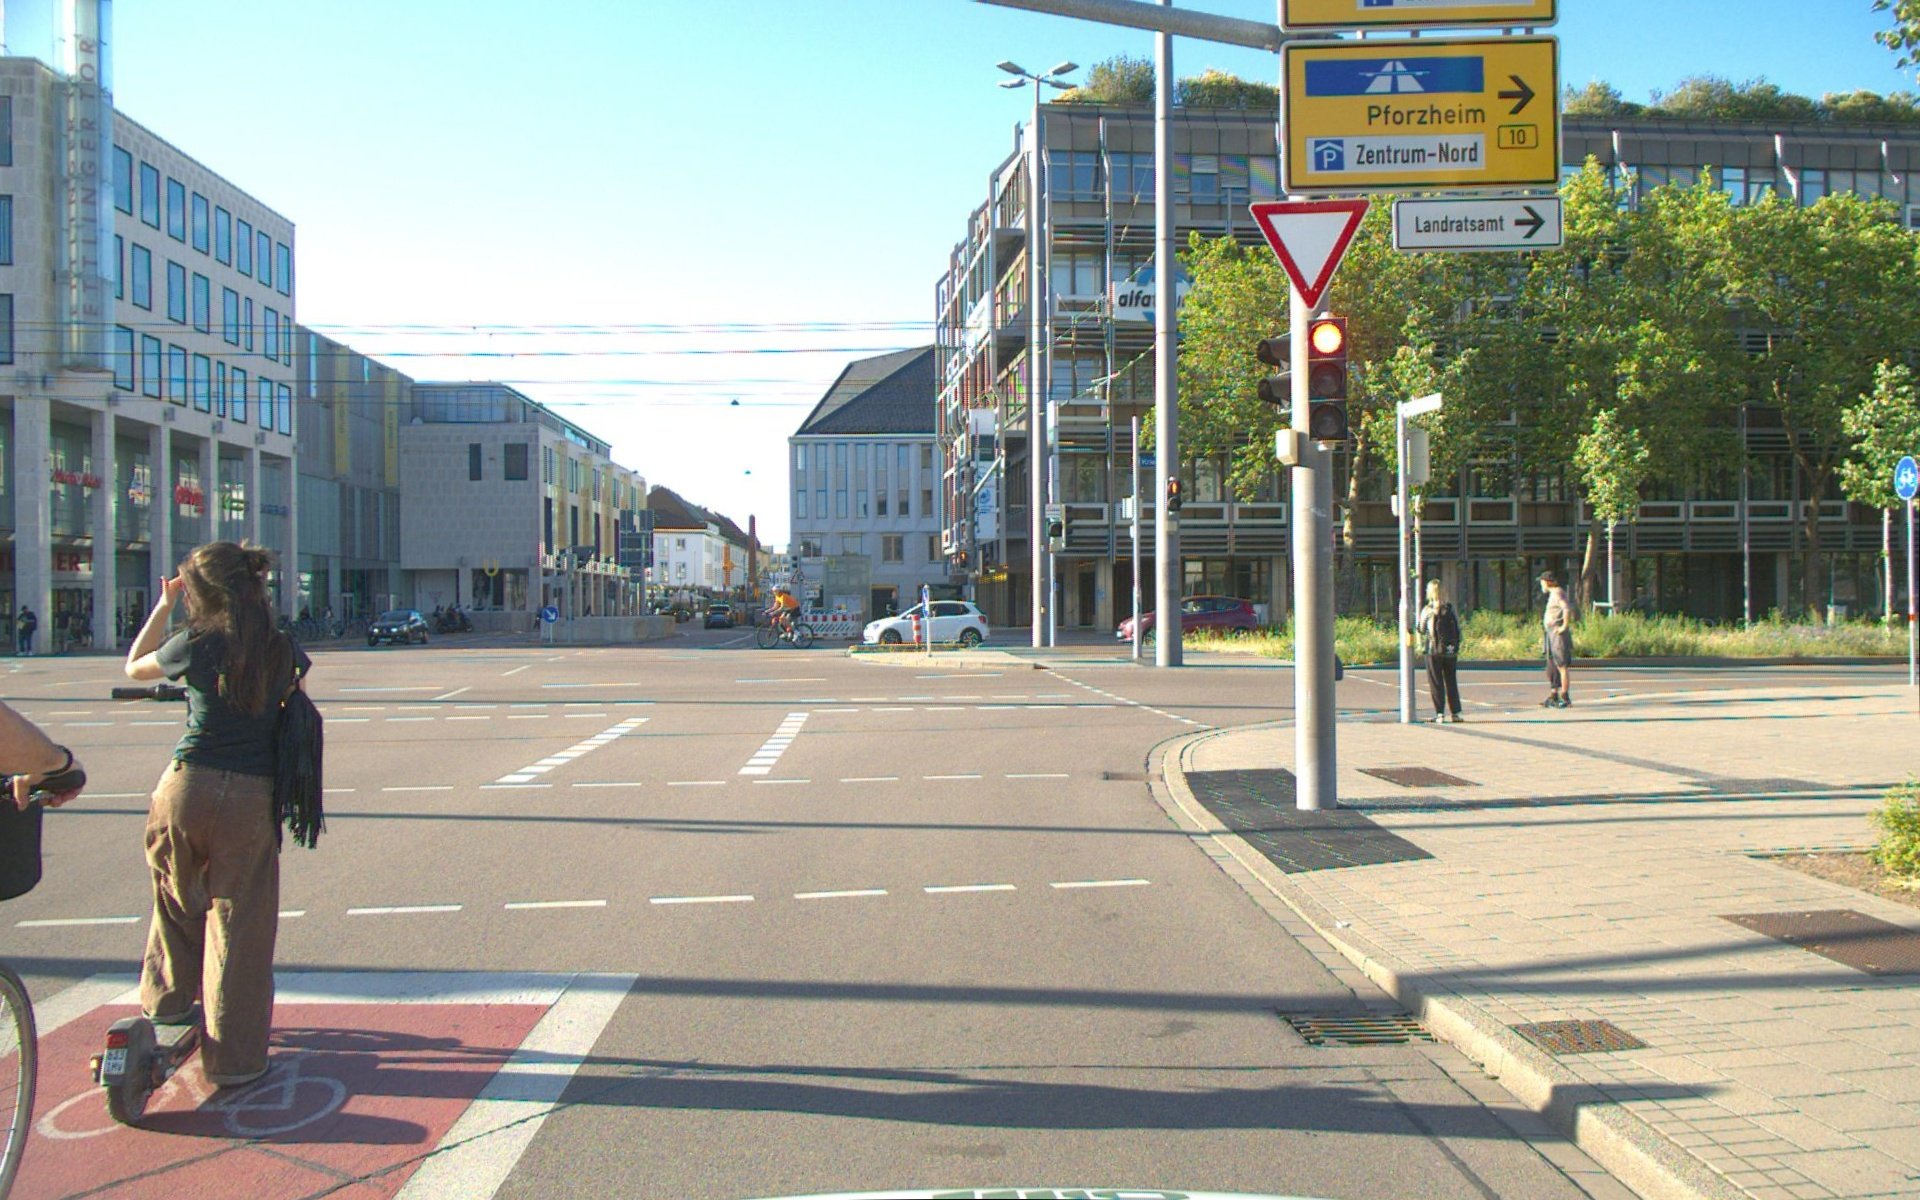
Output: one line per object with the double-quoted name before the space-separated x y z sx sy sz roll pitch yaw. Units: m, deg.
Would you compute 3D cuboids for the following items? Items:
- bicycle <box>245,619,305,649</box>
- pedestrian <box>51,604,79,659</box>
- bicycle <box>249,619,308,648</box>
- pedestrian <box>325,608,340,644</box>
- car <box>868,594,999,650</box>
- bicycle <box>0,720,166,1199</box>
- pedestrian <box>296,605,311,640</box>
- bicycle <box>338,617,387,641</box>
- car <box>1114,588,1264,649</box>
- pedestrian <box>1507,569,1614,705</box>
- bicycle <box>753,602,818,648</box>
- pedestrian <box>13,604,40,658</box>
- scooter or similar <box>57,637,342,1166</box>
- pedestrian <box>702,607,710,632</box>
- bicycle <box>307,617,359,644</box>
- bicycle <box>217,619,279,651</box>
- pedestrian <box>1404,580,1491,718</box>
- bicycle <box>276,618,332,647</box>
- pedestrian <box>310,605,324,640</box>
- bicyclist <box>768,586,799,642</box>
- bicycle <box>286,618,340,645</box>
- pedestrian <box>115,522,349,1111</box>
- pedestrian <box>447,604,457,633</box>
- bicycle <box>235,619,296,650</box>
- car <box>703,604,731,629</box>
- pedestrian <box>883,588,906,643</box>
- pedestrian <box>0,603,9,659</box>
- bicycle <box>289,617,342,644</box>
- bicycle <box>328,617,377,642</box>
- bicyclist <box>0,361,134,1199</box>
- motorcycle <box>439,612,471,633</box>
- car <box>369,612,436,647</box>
"bicycle" -29.291 1.449 70.750 2.260 1.244 0.611 0 0 -3
"pedestrian" -31.171 1.081 57.598 0.788 1.876 0.854 0 0 -33
"bicycle" -29.504 1.450 71.627 2.260 1.244 0.611 0 0 -3
"pedestrian" -30.737 1.252 81.005 0.639 1.749 0.447 0 0 -25
"car" -0.824 0.675 50.526 3.825 1.613 1.656 1 0 -8
"bicycle" -2.080 0.866 2.922 0.475 1.176 1.831 1 0 -1
"pedestrian" -33.041 1.134 83.202 0.560 1.709 0.614 1 0 -10
"bicycle" -30.816 1.488 85.332 2.260 1.244 0.611 0 0 -3
"car" 6.306 0.489 45.710 3.812 1.613 1.656 -1 0 -8
"pedestrian" 7.696 0.468 21.226 0.866 1.694 0.958 1 -1 -22
"bicycle" -4.601 0.664 43.578 1.619 1.175 0.494 1 -1 -18
"pedestrian" -32.863 1.090 58.257 0.787 1.876 0.856 0 0 -29
"scooter or similar" -2.177 0.783 4.855 0.538 1.316 1.189 1 0 -15
"pedestrian" -17.875 1.380 116.532 0.511 1.709 0.582 1 0 -8
"bicycle" -30.335 1.473 80.045 2.260 1.244 0.611 0 0 -3
"bicycle" -29.334 1.437 68.111 2.260 1.244 0.611 0 0 -3
"pedestrian" 5.516 0.549 18.744 0.772 1.518 0.644 1 -1 -1
"bicycle" -29.604 1.462 74.692 2.260 1.244 0.611 0 0 -3
"pedestrian" -32.432 1.129 83.443 0.544 1.709 0.606 1 0 -11
"bicyclist" -4.658 0.369 43.558 0.700 1.462 0.494 1 -1 -18
"bicycle" -30.065 1.463 76.843 2.260 1.244 0.611 0 0 -3
"pedestrian" -2.186 0.614 5.023 0.540 1.661 0.569 1 -1 -16
"pedestrian" -30.099 1.090 98.073 0.512 1.709 0.581 1 0 -14
"bicycle" -29.127 1.446 69.397 2.260 1.244 0.611 0 0 -3
"car" -15.826 1.073 107.941 1.705 1.558 3.849 1 0 -8
"pedestrian" -2.353 0.557 59.460 0.628 1.923 0.791 1 -1 14
"pedestrian" -33.163 1.071 56.863 0.706 1.918 0.780 1 -1 -28
"bicycle" -30.714 1.461 78.813 2.260 1.244 0.611 0 0 -3
"bicycle" -30.928 1.481 84.262 2.260 1.244 0.611 0 0 -3
"bicyclist" -1.977 0.462 2.847 0.647 1.750 0.865 1 -1 -1
"motorcycle" -29.762 1.344 97.470 1.775 1.228 0.509 1 0 -16
"car" -23.378 1.218 69.479 1.597 1.365 3.998 -3 0 -3
